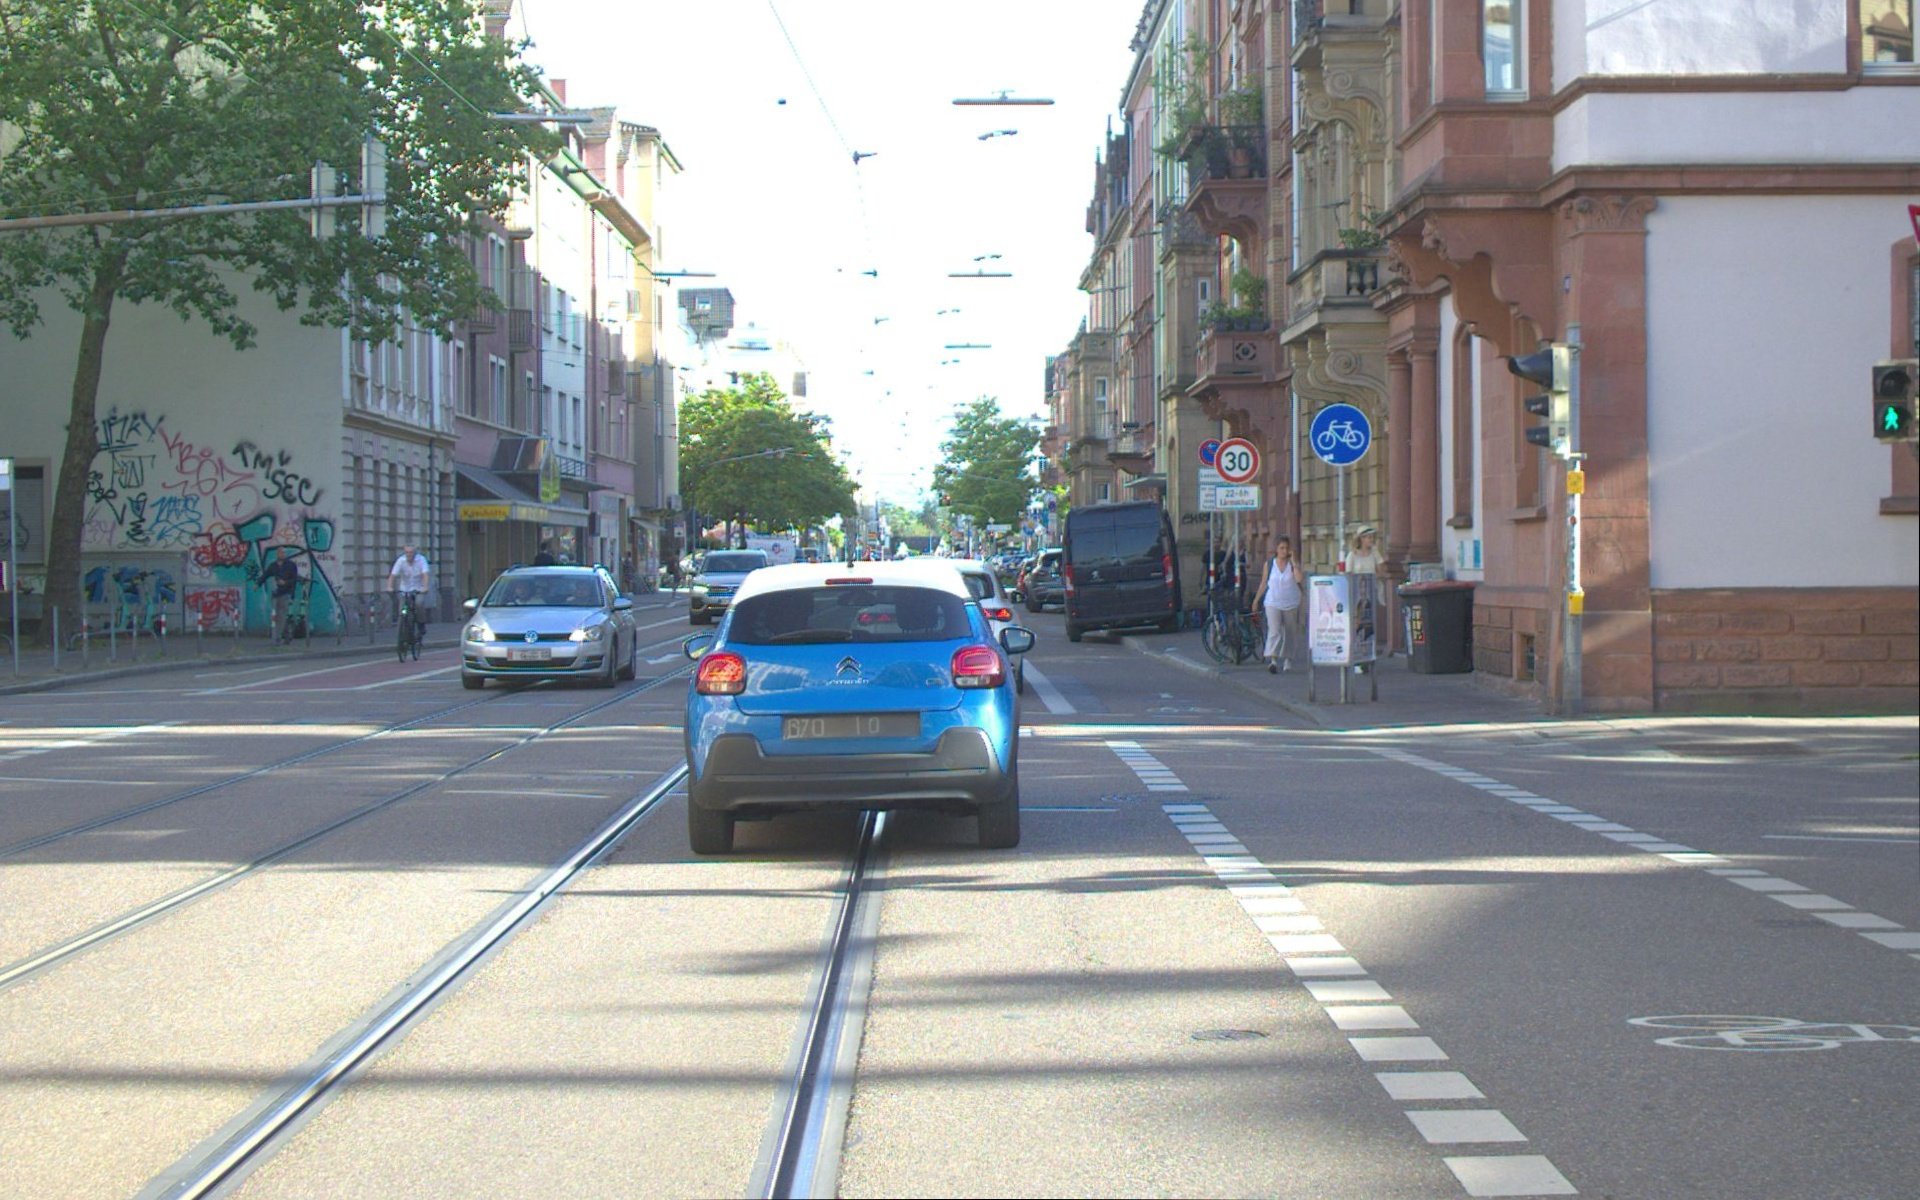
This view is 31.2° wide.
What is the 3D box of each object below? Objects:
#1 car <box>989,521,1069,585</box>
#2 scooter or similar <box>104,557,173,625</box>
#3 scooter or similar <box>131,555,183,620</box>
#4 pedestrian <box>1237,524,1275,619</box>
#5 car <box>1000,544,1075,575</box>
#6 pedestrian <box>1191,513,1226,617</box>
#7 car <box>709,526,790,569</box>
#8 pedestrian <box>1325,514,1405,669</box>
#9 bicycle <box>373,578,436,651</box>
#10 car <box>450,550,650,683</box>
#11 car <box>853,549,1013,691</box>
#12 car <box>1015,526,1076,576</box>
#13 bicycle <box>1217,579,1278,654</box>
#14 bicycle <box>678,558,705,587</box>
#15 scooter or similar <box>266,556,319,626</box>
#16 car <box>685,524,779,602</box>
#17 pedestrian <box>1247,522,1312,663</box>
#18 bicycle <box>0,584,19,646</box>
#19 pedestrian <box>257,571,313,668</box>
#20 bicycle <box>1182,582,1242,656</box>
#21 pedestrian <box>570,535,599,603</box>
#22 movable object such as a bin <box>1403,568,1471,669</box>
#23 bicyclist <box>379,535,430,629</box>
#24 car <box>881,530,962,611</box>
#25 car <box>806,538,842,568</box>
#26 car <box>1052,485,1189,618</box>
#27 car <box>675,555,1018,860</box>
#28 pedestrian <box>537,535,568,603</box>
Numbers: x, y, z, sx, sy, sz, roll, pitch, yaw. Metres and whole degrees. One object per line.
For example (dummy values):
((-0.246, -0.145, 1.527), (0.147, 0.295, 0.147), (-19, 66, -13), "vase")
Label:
((1.847, -1.273, 93.319), (2.005, 1.667, 4.806), (-1, 1, -1), "car")
((-15.386, -0.174, 64.418), (1.227, 1.253, 0.768), (-1, 1, -12), "scooter or similar")
((-15.246, -0.240, 65.305), (0.937, 1.218, 0.768), (-1, 1, -12), "scooter or similar")
((5.612, -0.540, 65.177), (0.553, 1.776, 0.606), (3, 1, -2), "pedestrian")
((4.104, -2.167, 182.809), (3.835, 1.612, 1.792), (-1, 1, -3), "car")
((4.832, -0.690, 66.969), (0.585, 2.007, 0.823), (0, 1, -2), "pedestrian")
((-12.645, -3.168, 206.328), (4.307, 2.572, 2.210), (-1, 1, -26), "car")
((4.800, -0.103, 40.776), (0.705, 1.776, 0.673), (-5, 1, -2), "pedestrian")
((-8.768, 0.217, 54.297), (0.692, 1.116, 2.084), (0, 1, -1), "bicycle")
((-4.868, 0.155, 41.344), (1.985, 1.497, 4.309), (0, 1, -1), "car")
((-0.343, 0.180, 38.155), (1.667, 1.473, 4.000), (-1, 1, -2), "car")
((2.885, -1.665, 117.275), (2.005, 1.667, 4.391), (0, 1, 1), "car")
((3.808, 0.210, 45.577), (0.431, 0.944, 1.764), (0, 1, -8), "bicycle")
((-12.309, -1.269, 157.524), (1.120, 1.315, 3.645), (-1, 1, -6), "bicycle")
((-12.750, -0.179, 65.690), (0.788, 1.267, 1.075), (2, 2, -2), "scooter or similar")
((-5.251, -0.868, 79.577), (1.993, 1.738, 4.563), (0, 1, -2), "car")
((3.893, -0.097, 41.920), (0.626, 1.695, 0.682), (0, 1, -9), "pedestrian")
((-16.869, 0.260, 58.014), (1.918, 1.031, 0.664), (0, 1, 26), "bicycle")
((-12.376, 0.357, 63.028), (0.682, 1.759, 1.025), (0, 1, 10), "pedestrian")
((3.333, 0.245, 45.514), (0.431, 0.944, 1.764), (0, 1, -8), "bicycle")
((-9.830, -0.814, 89.880), (0.710, 1.758, 0.655), (-1, 1, -9), "pedestrian")
((5.543, 0.212, 39.975), (0.666, 1.149, 0.594), (-1, 1, -2), "movable object such as a bin")
((-8.765, -0.291, 54.298), (0.682, 1.478, 0.778), (0, 1, -1), "bicyclist")
((-1.013, -0.773, 88.493), (1.993, 2.007, 4.000), (-1, 1, -2), "car")
((-7.745, -2.664, 195.572), (1.993, 1.645, 4.000), (-1, 1, -2), "car")
((3.022, -0.925, 65.922), (2.271, 2.428, 5.720), (0, 1, -1), "car")
((-0.628, 0.501, 18.889), (1.674, 1.472, 4.000), (0, 1, -2), "car")
((-10.616, -0.806, 89.577), (0.710, 1.758, 0.570), (-1, 1, -2), "pedestrian")
